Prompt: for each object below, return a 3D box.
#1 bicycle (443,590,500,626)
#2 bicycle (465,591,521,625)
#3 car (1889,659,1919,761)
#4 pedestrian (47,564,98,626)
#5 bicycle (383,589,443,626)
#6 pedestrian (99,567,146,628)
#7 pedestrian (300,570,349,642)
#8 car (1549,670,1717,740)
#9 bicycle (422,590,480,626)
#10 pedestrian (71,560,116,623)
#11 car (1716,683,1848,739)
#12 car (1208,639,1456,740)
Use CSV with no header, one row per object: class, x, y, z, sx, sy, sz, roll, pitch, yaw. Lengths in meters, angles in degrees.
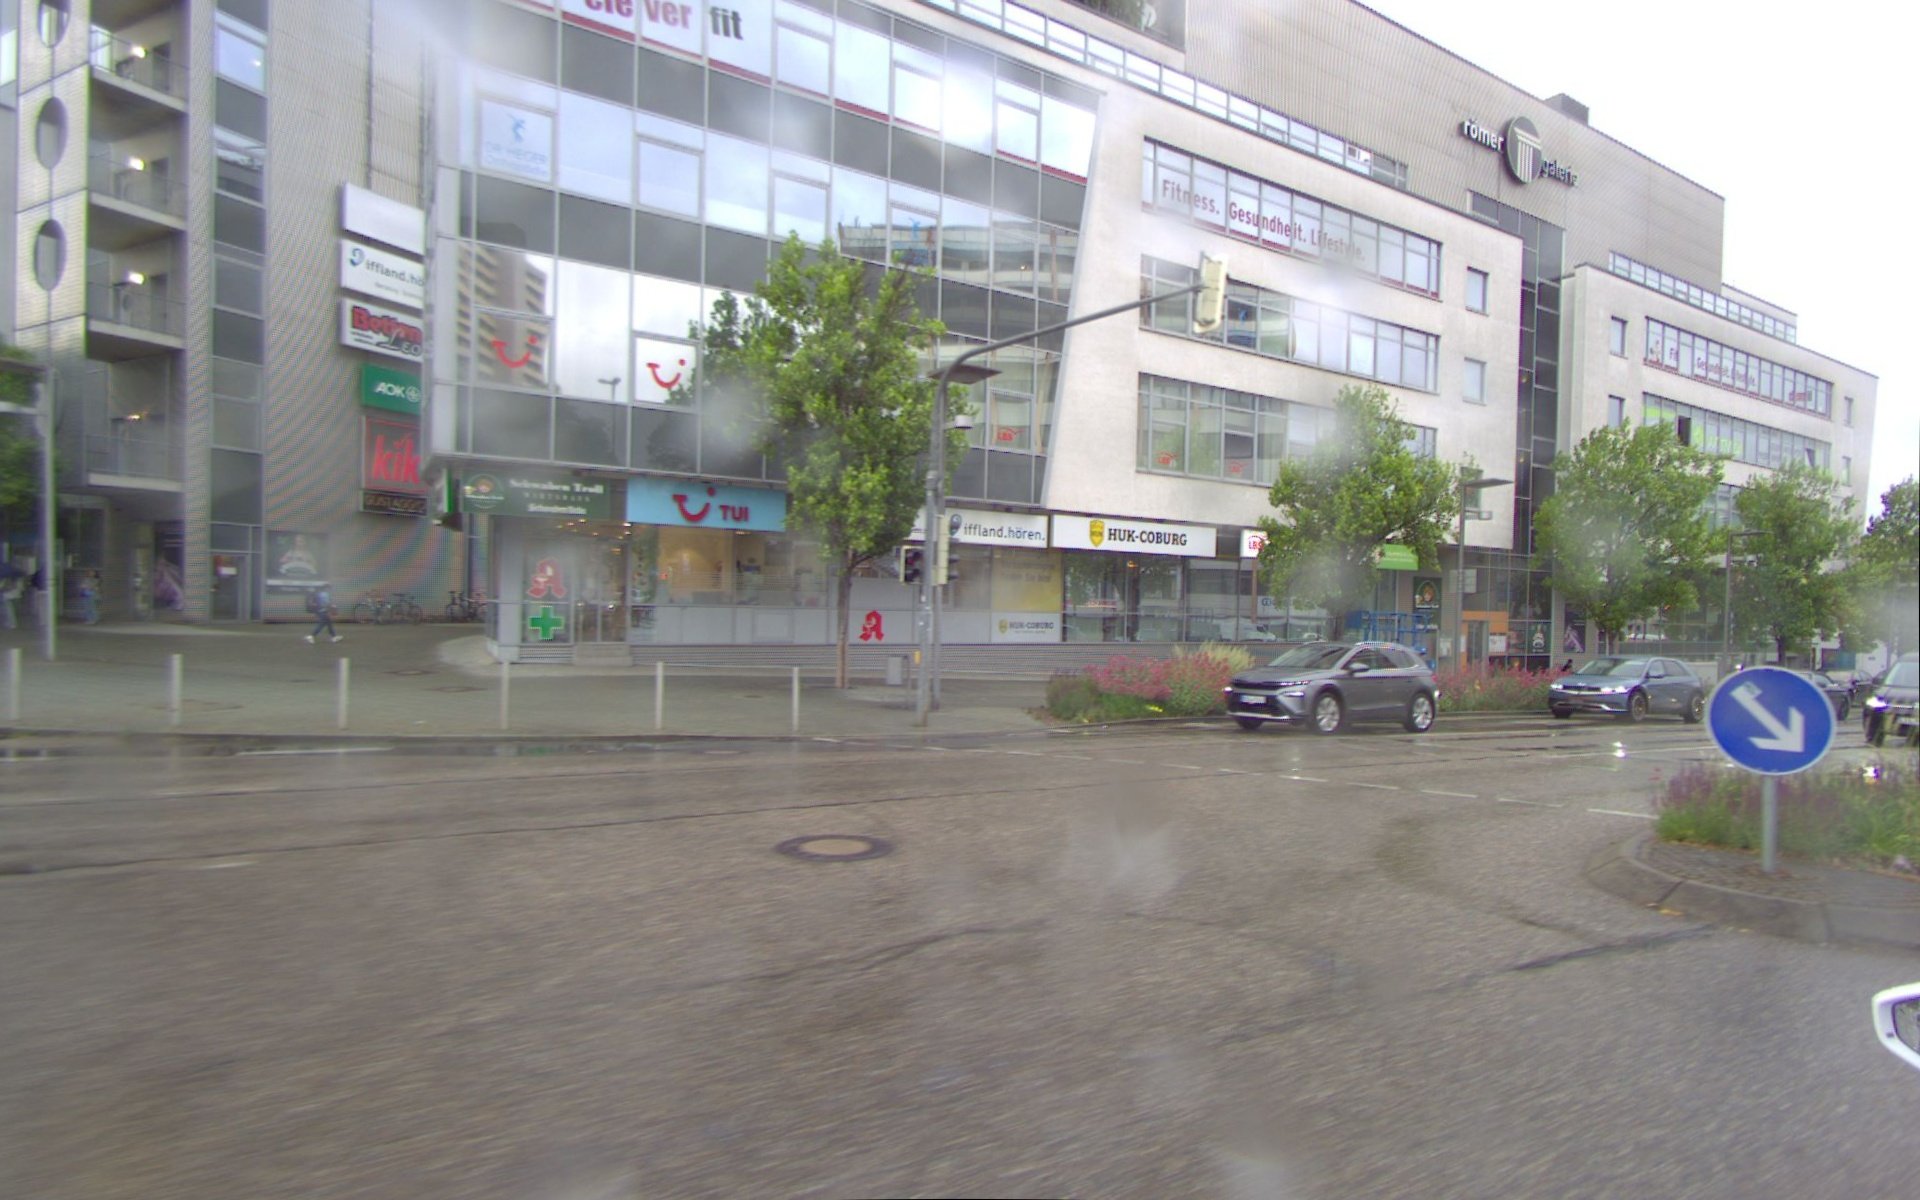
bicycle,-18.360,0.296,37.725,2.238,1.263,0.676,2,0,26
bicycle,-17.983,0.305,38.659,2.238,1.263,0.676,2,0,26
car,19.689,2.154,19.239,4.258,1.847,1.980,5,-4,-36
pedestrian,-27.550,-0.145,31.193,0.738,1.892,0.834,1,-3,9
bicycle,-19.448,0.265,35.689,2.238,1.263,0.676,2,0,26
pedestrian,-26.308,-0.079,31.572,0.738,1.893,0.833,1,0,0
pedestrian,-16.741,0.165,26.463,1.013,1.843,0.841,2,-1,-31
car,16.872,2.570,25.113,4.537,1.614,1.765,3,-5,-32
bicycle,-18.743,0.293,37.006,2.238,1.263,0.676,2,0,26
pedestrian,-26.381,-0.254,30.573,0.818,1.893,0.752,1,0,27
car,23.784,3.151,29.034,4.553,1.406,1.715,3,-2,-34
car,6.772,1.588,18.172,4.474,1.614,1.866,3,-5,-32
